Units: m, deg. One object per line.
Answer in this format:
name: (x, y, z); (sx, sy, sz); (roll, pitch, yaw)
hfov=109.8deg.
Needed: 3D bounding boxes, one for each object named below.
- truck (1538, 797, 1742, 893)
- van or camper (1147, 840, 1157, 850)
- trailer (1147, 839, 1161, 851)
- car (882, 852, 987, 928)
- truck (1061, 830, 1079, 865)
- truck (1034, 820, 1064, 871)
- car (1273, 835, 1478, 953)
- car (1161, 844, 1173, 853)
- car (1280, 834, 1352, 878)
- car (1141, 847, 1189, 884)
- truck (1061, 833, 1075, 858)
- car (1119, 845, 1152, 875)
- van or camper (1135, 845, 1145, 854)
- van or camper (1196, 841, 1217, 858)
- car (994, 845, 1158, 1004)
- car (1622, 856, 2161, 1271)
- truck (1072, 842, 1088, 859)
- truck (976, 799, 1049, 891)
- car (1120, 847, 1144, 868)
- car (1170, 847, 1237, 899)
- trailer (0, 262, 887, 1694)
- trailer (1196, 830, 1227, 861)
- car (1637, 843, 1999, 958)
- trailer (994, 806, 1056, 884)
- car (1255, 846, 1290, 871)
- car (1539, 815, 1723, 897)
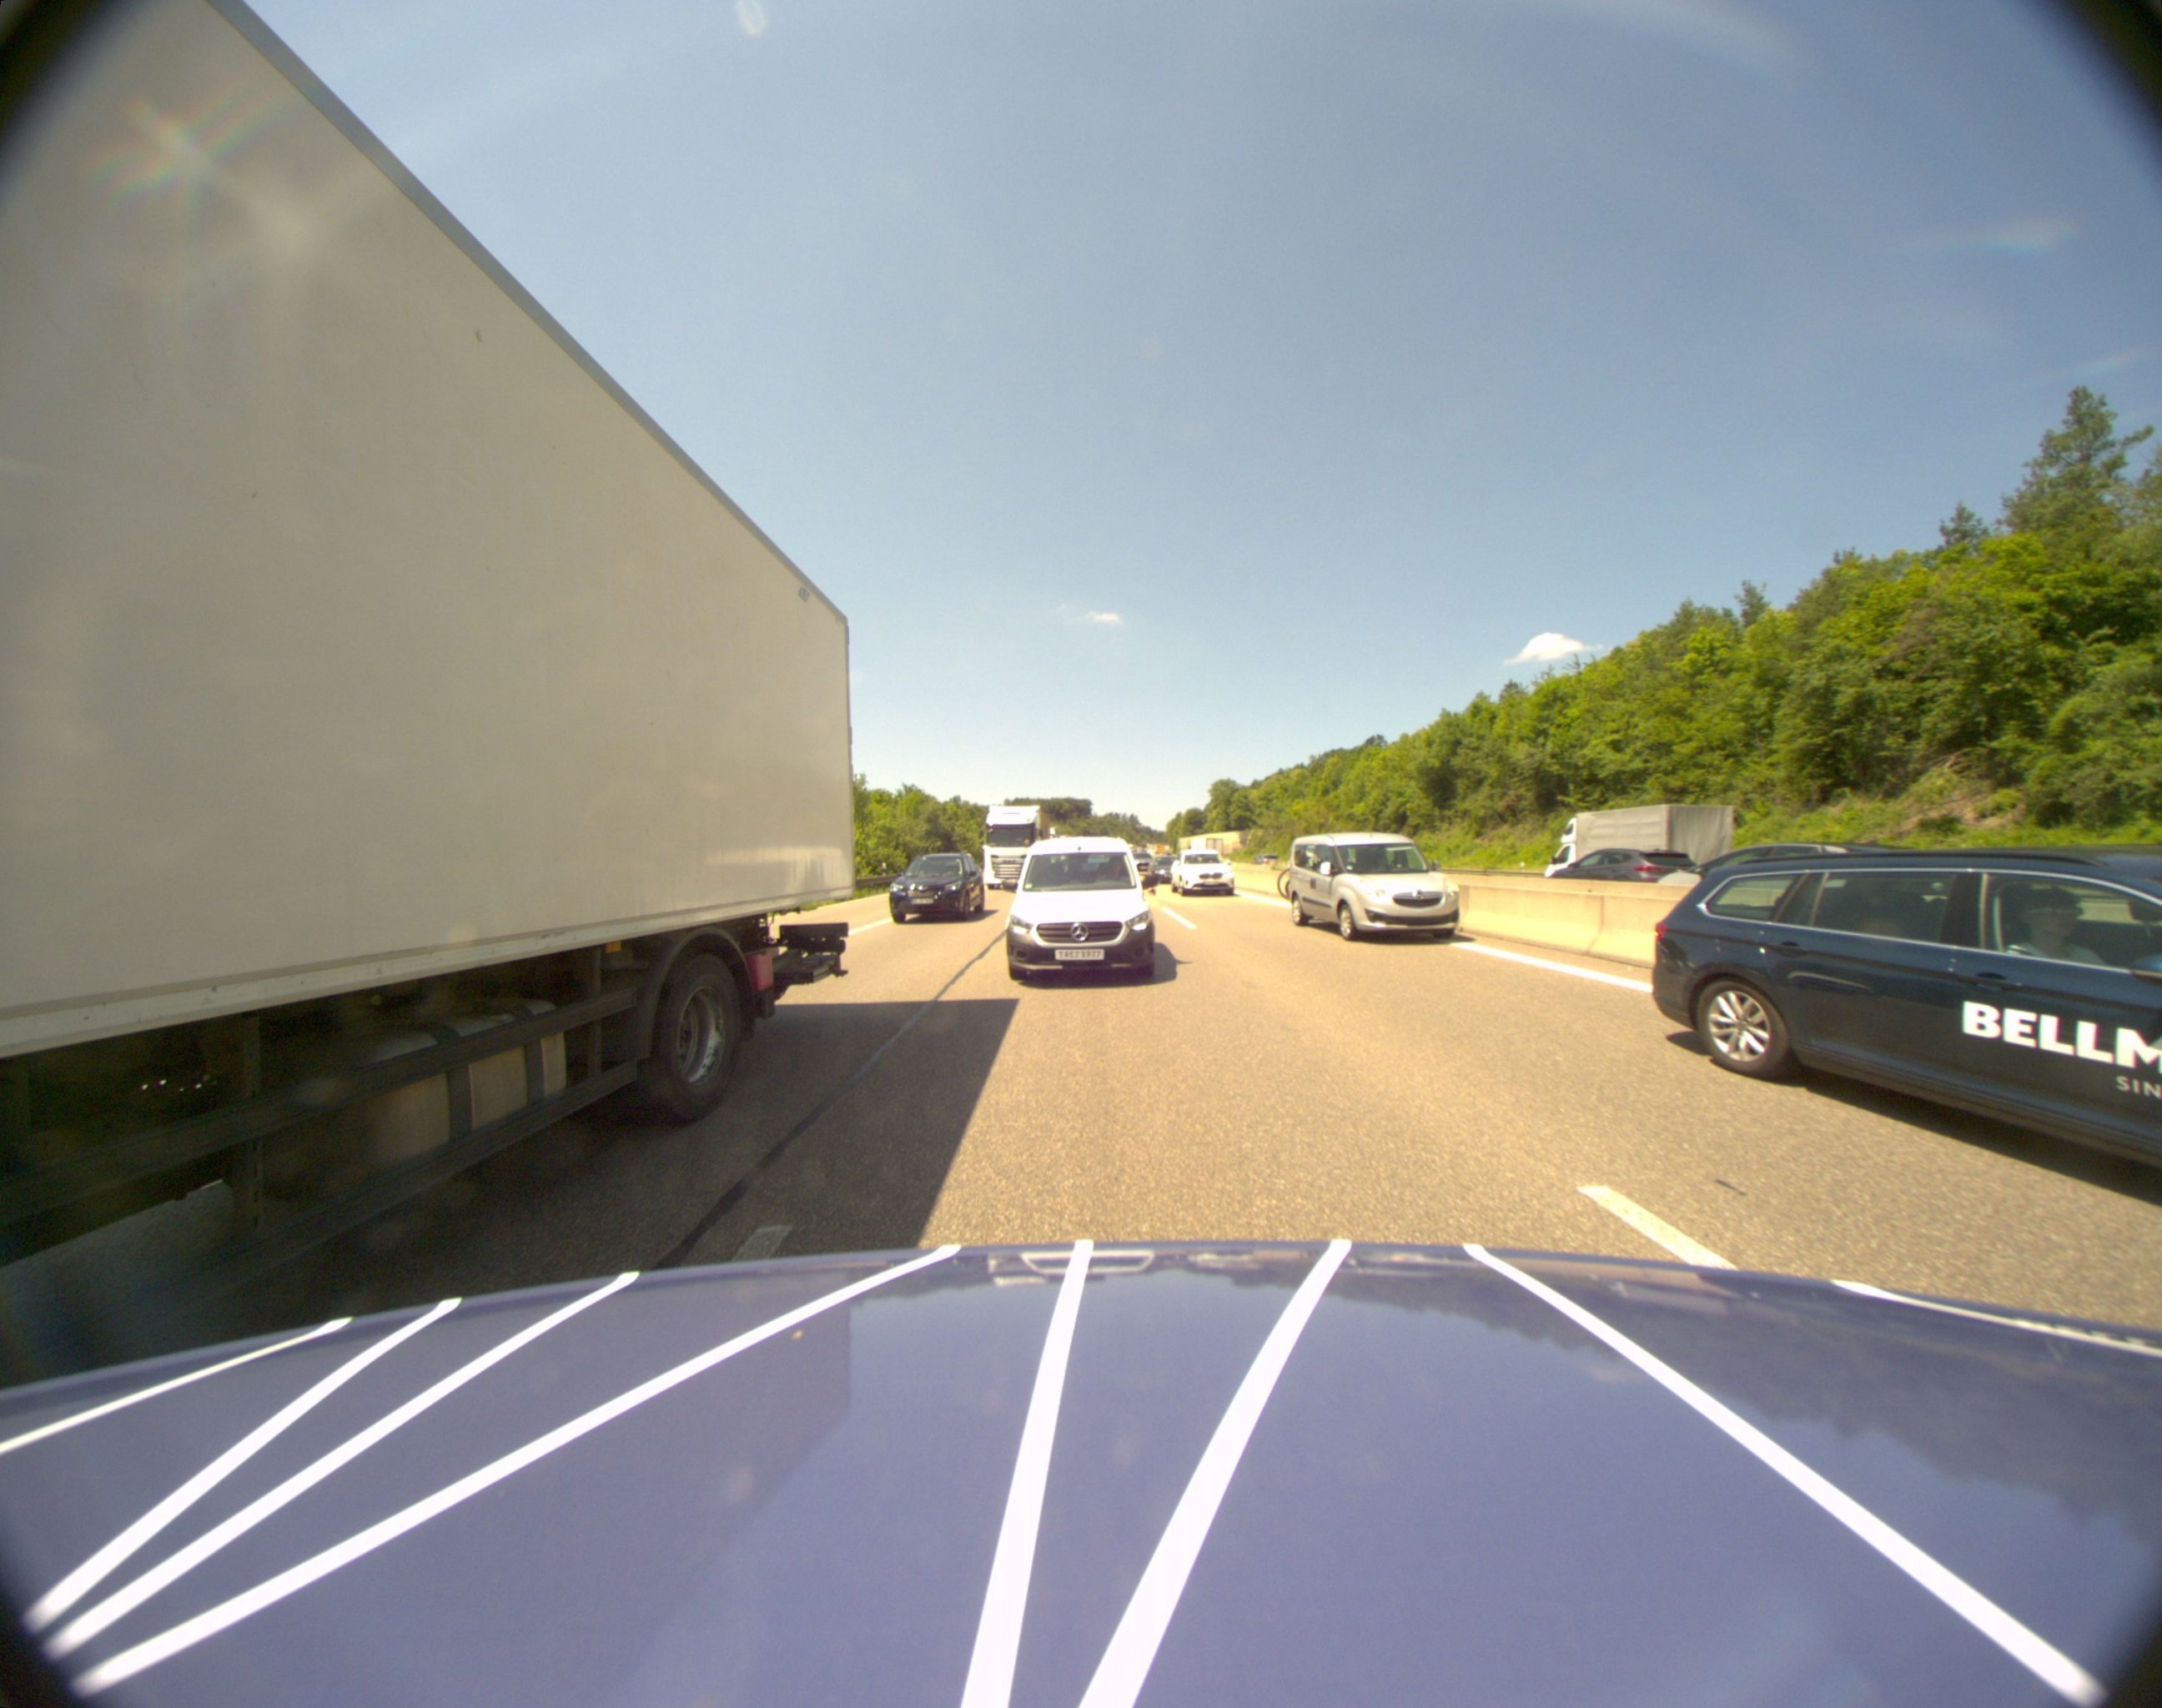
truck: (19.219, -0.337, 26.730); (2.183, 2.868, 6.741); (-2, 1, 0)
van or camper: (17.070, -2.217, 182.464); (1.998, 2.371, 4.808); (4, 1, 2)
trailer: (22.586, -2.835, 235.877); (3.005, 3.850, 11.397); (-2, 1, 0)
car: (-3.684, 0.841, 19.951); (1.999, 1.682, 4.609); (0, 1, -2)
truck: (-1.476, -0.779, 101.627); (2.187, 4.437, 10.868); (-1, 0, -1)
truck: (-2.982, -0.682, 72.533); (2.394, 4.437, 10.868); (-1, 0, -1)
car: (5.119, 0.566, 14.059); (1.857, 1.762, 4.916); (-2, 1, 0)
car: (20.459, -1.233, 181.444); (2.119, 2.002, 4.476); (-2, 1, -2)
car: (11.582, 0.033, 37.815); (1.998, 2.002, 4.956); (-2, 1, 0)
car: (4.338, 0.539, 39.757); (1.998, 1.747, 3.999); (-2, 1, 0)
truck: (-2.082, -1.319, 126.078); (2.187, 4.073, 10.868); (-1, 0, -1)
car: (3.752, 0.433, 52.738); (1.998, 2.002, 4.000); (-1, 0, 1)
van or camper: (20.331, -1.495, 262.054); (2.401, 2.858, 6.712); (0, -2, -3)
van or camper: (15.895, -0.630, 96.384); (1.998, 2.002, 4.927); (-2, 1, 2)
car: (-0.026, 0.759, 10.584); (1.756, 1.681, 4.363); (-2, 1, 1)
car: (4.912, 0.788, 3.252); (1.879, 1.442, 4.677); (-2, 1, 0)
truck: (-0.409, -0.934, 206.379); (4.084, 4.403, 11.396); (-2, 0, -1)
truck: (-3.242, -0.471, 38.101); (2.766, 4.061, 7.333); (-2, 1, 1)
car: (5.273, 0.367, 79.000); (1.999, 2.002, 3.998); (-2, 1, -2)
car: (4.475, 0.652, 28.347); (1.824, 1.696, 3.999); (-2, 1, 0)
trailer: (-3.502, 0.247, 4.740); (2.562, 2.882, 7.881); (-2, 0, -1)
trailer: (20.162, -1.333, 118.340); (2.956, 4.456, 10.814); (-2, 1, 0)
car: (11.219, 0.611, 12.050); (1.829, 1.486, 3.999); (-1, 0, -1)
trailer: (-3.154, -0.574, 45.686); (2.767, 4.061, 11.615); (0, 1, 0)
car: (15.487, 0.321, 61.692); (1.788, 1.827, 4.292); (-2, 1, 0)
car: (15.169, 0.015, 21.320); (1.998, 2.002, 4.418); (-2, 1, 1)
